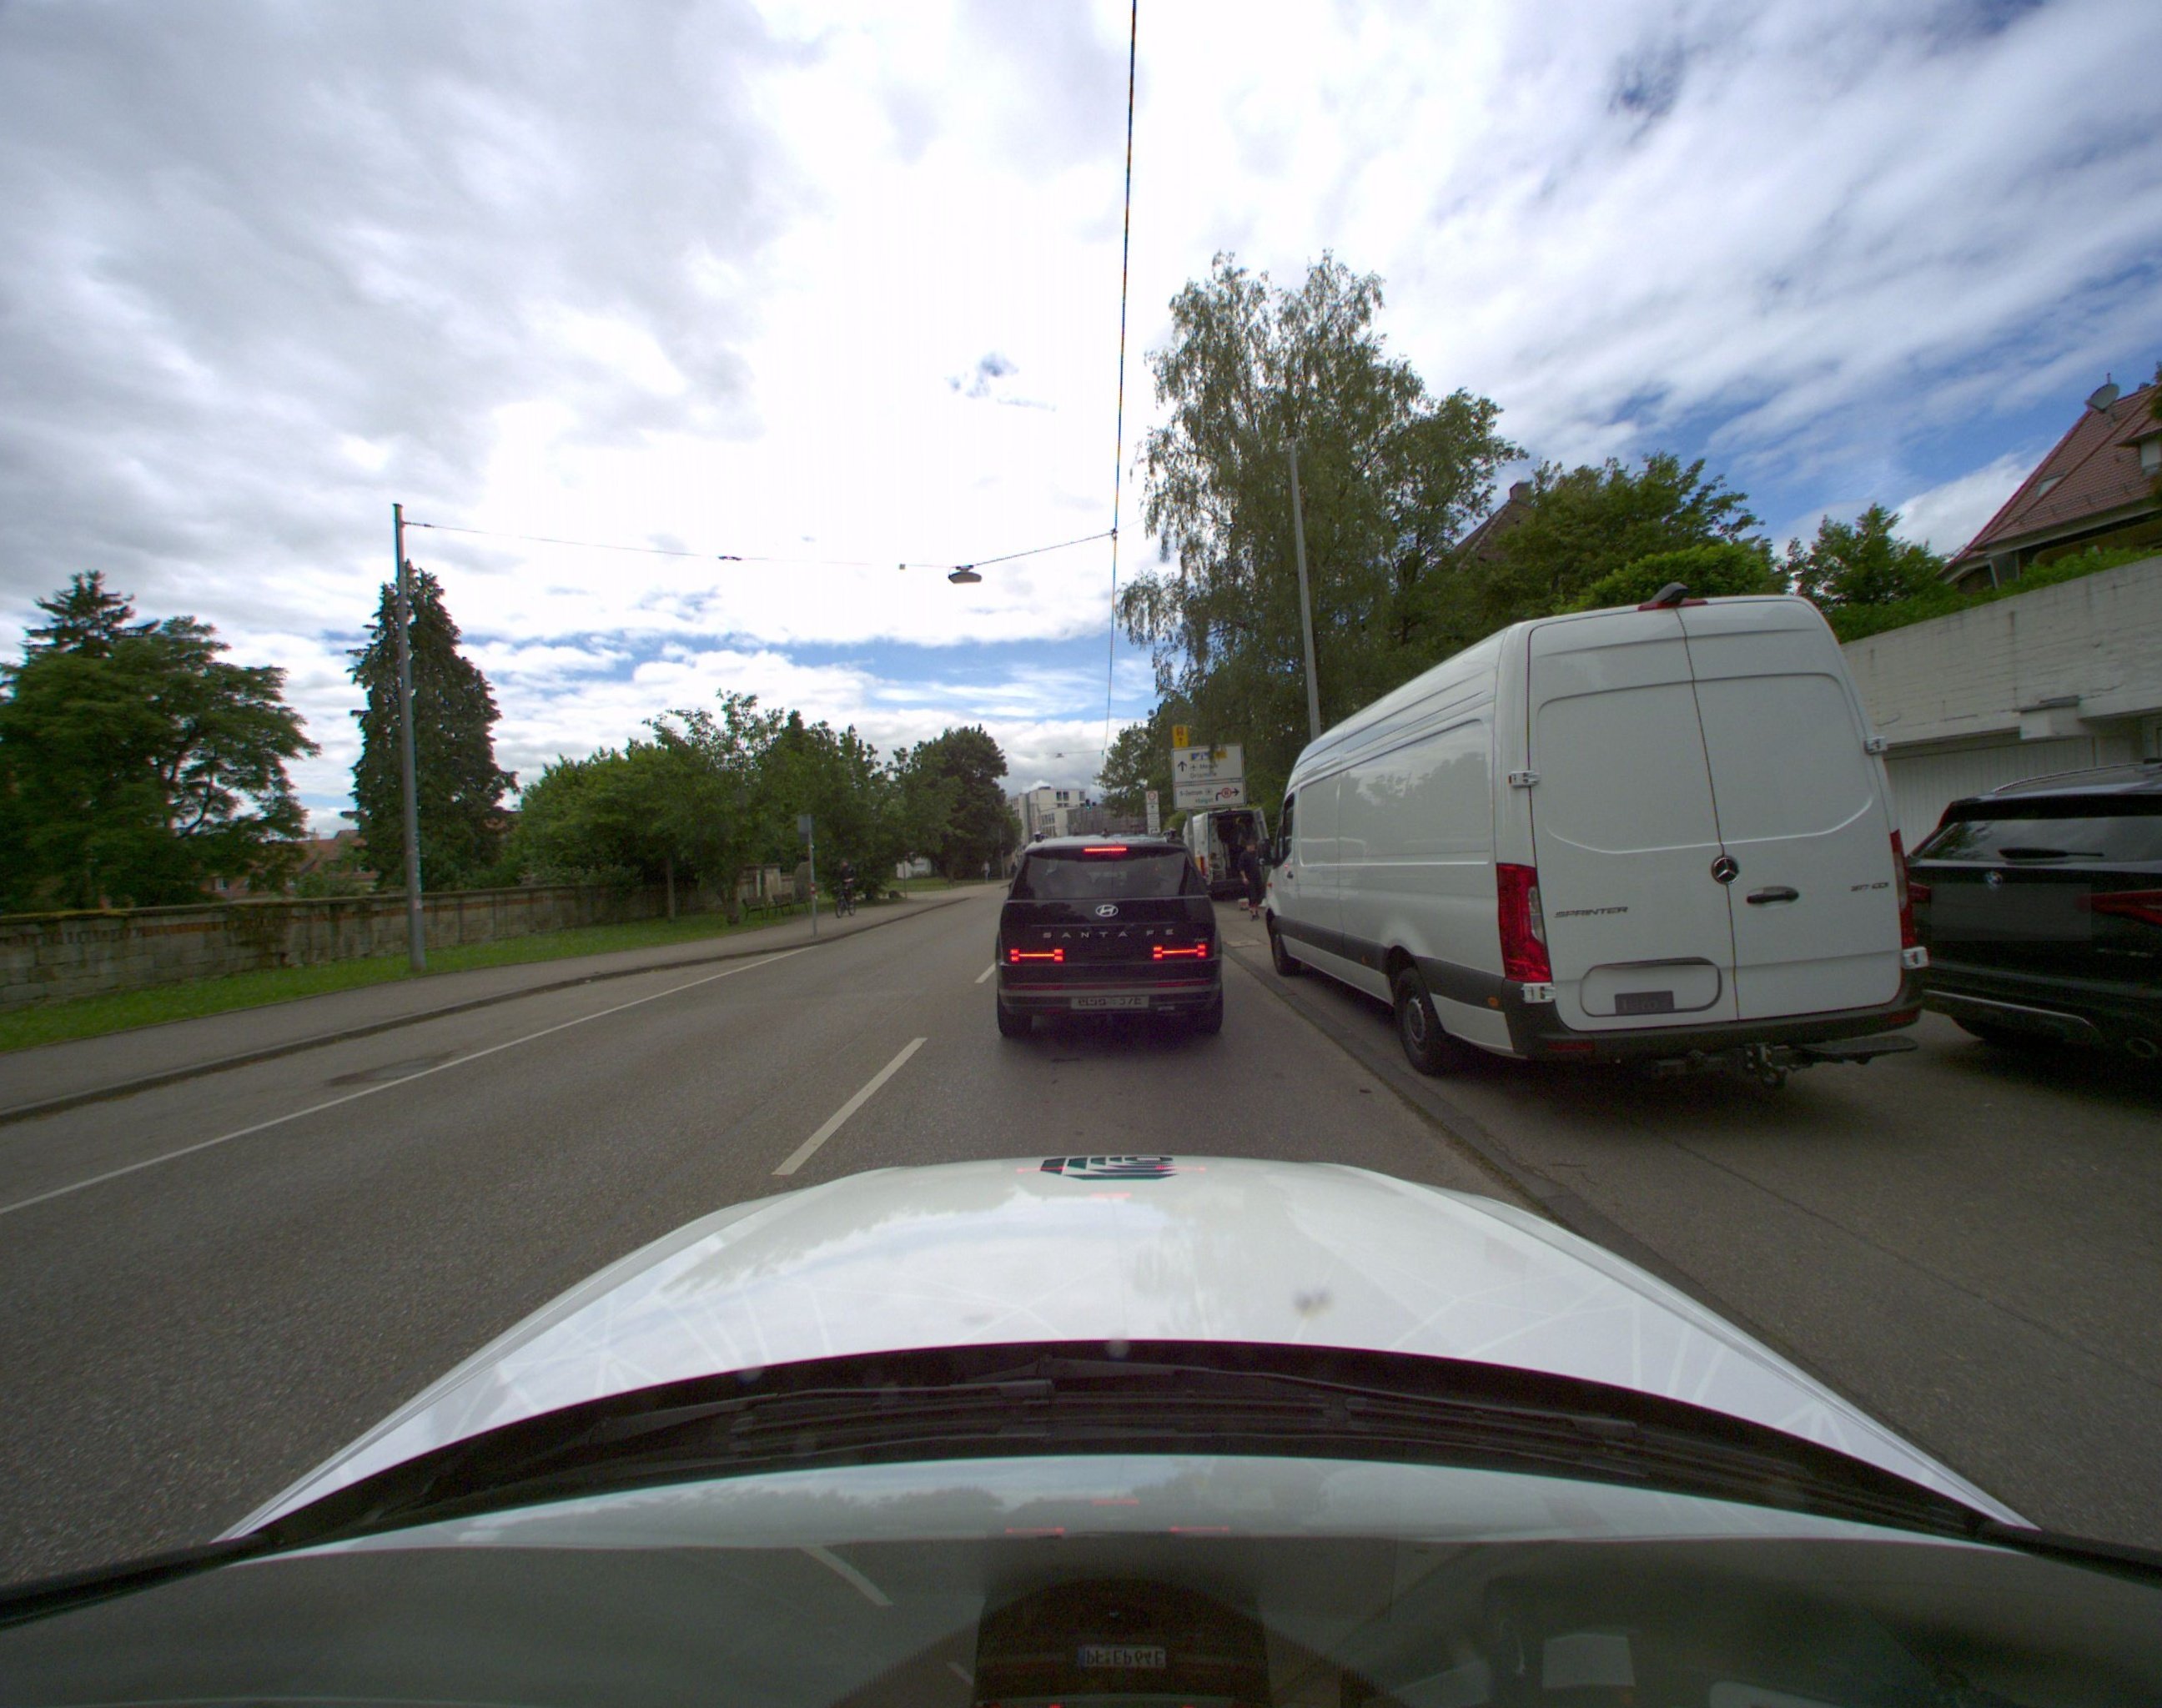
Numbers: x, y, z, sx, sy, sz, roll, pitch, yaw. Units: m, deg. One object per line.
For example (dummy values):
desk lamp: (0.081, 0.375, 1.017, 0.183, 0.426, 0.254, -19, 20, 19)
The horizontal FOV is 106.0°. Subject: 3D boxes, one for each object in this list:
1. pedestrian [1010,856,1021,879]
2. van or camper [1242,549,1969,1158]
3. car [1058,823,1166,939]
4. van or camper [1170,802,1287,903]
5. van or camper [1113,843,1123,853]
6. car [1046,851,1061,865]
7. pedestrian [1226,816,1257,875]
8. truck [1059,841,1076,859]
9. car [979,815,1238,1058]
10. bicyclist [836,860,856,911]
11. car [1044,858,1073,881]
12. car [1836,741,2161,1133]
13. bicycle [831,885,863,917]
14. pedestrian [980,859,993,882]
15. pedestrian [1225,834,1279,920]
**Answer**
pedestrian: (-5.676, 1.181, 70.918, 0.826, 2.014, 1.048, 0, -1, 4)
van or camper: (3.060, 0.021, 7.039, 1.984, 2.625, 6.546, -6, -1, 2)
car: (0.615, 0.497, 16.440, 1.890, 2.042, 3.995, 0, -1, 2)
van or camper: (4.344, 0.020, 25.296, 2.332, 2.494, 6.603, -6, -1, 1)
van or camper: (7.756, -1.201, 172.568, 1.791, 1.999, 3.821, 0, -1, -2)
car: (-4.905, 0.788, 144.562, 2.328, 2.315, 4.950, -3, 0, -4)
pedestrian: (4.728, -0.243, 24.009, 0.732, 1.643, 0.803, -4, -1, 8)
truck: (-3.116, -0.865, 187.507, 3.102, 3.859, 9.607, -3, 0, -4)
car: (0.260, 0.620, 7.976, 1.890, 1.776, 3.995, 0, -1, 2)
bicyclist: (-7.723, 1.028, 26.801, 0.486, 1.684, 0.588, 0, -1, 1)
car: (-1.573, 1.110, 58.859, 1.750, 1.403, 4.416, -5, -1, 2)
car: (6.786, 0.220, 4.033, 4.365, 1.675, 1.696, -4, -1, 2)
bicycle: (-7.717, 1.524, 26.875, 0.493, 0.964, 1.749, 0, -1, 2)
pedestrian: (-7.100, 1.247, 61.349, 0.764, 1.748, 0.904, -2, -1, 1)
pedestrian: (3.550, 0.462, 16.931, 0.756, 1.721, 0.783, 0, -1, -39)
